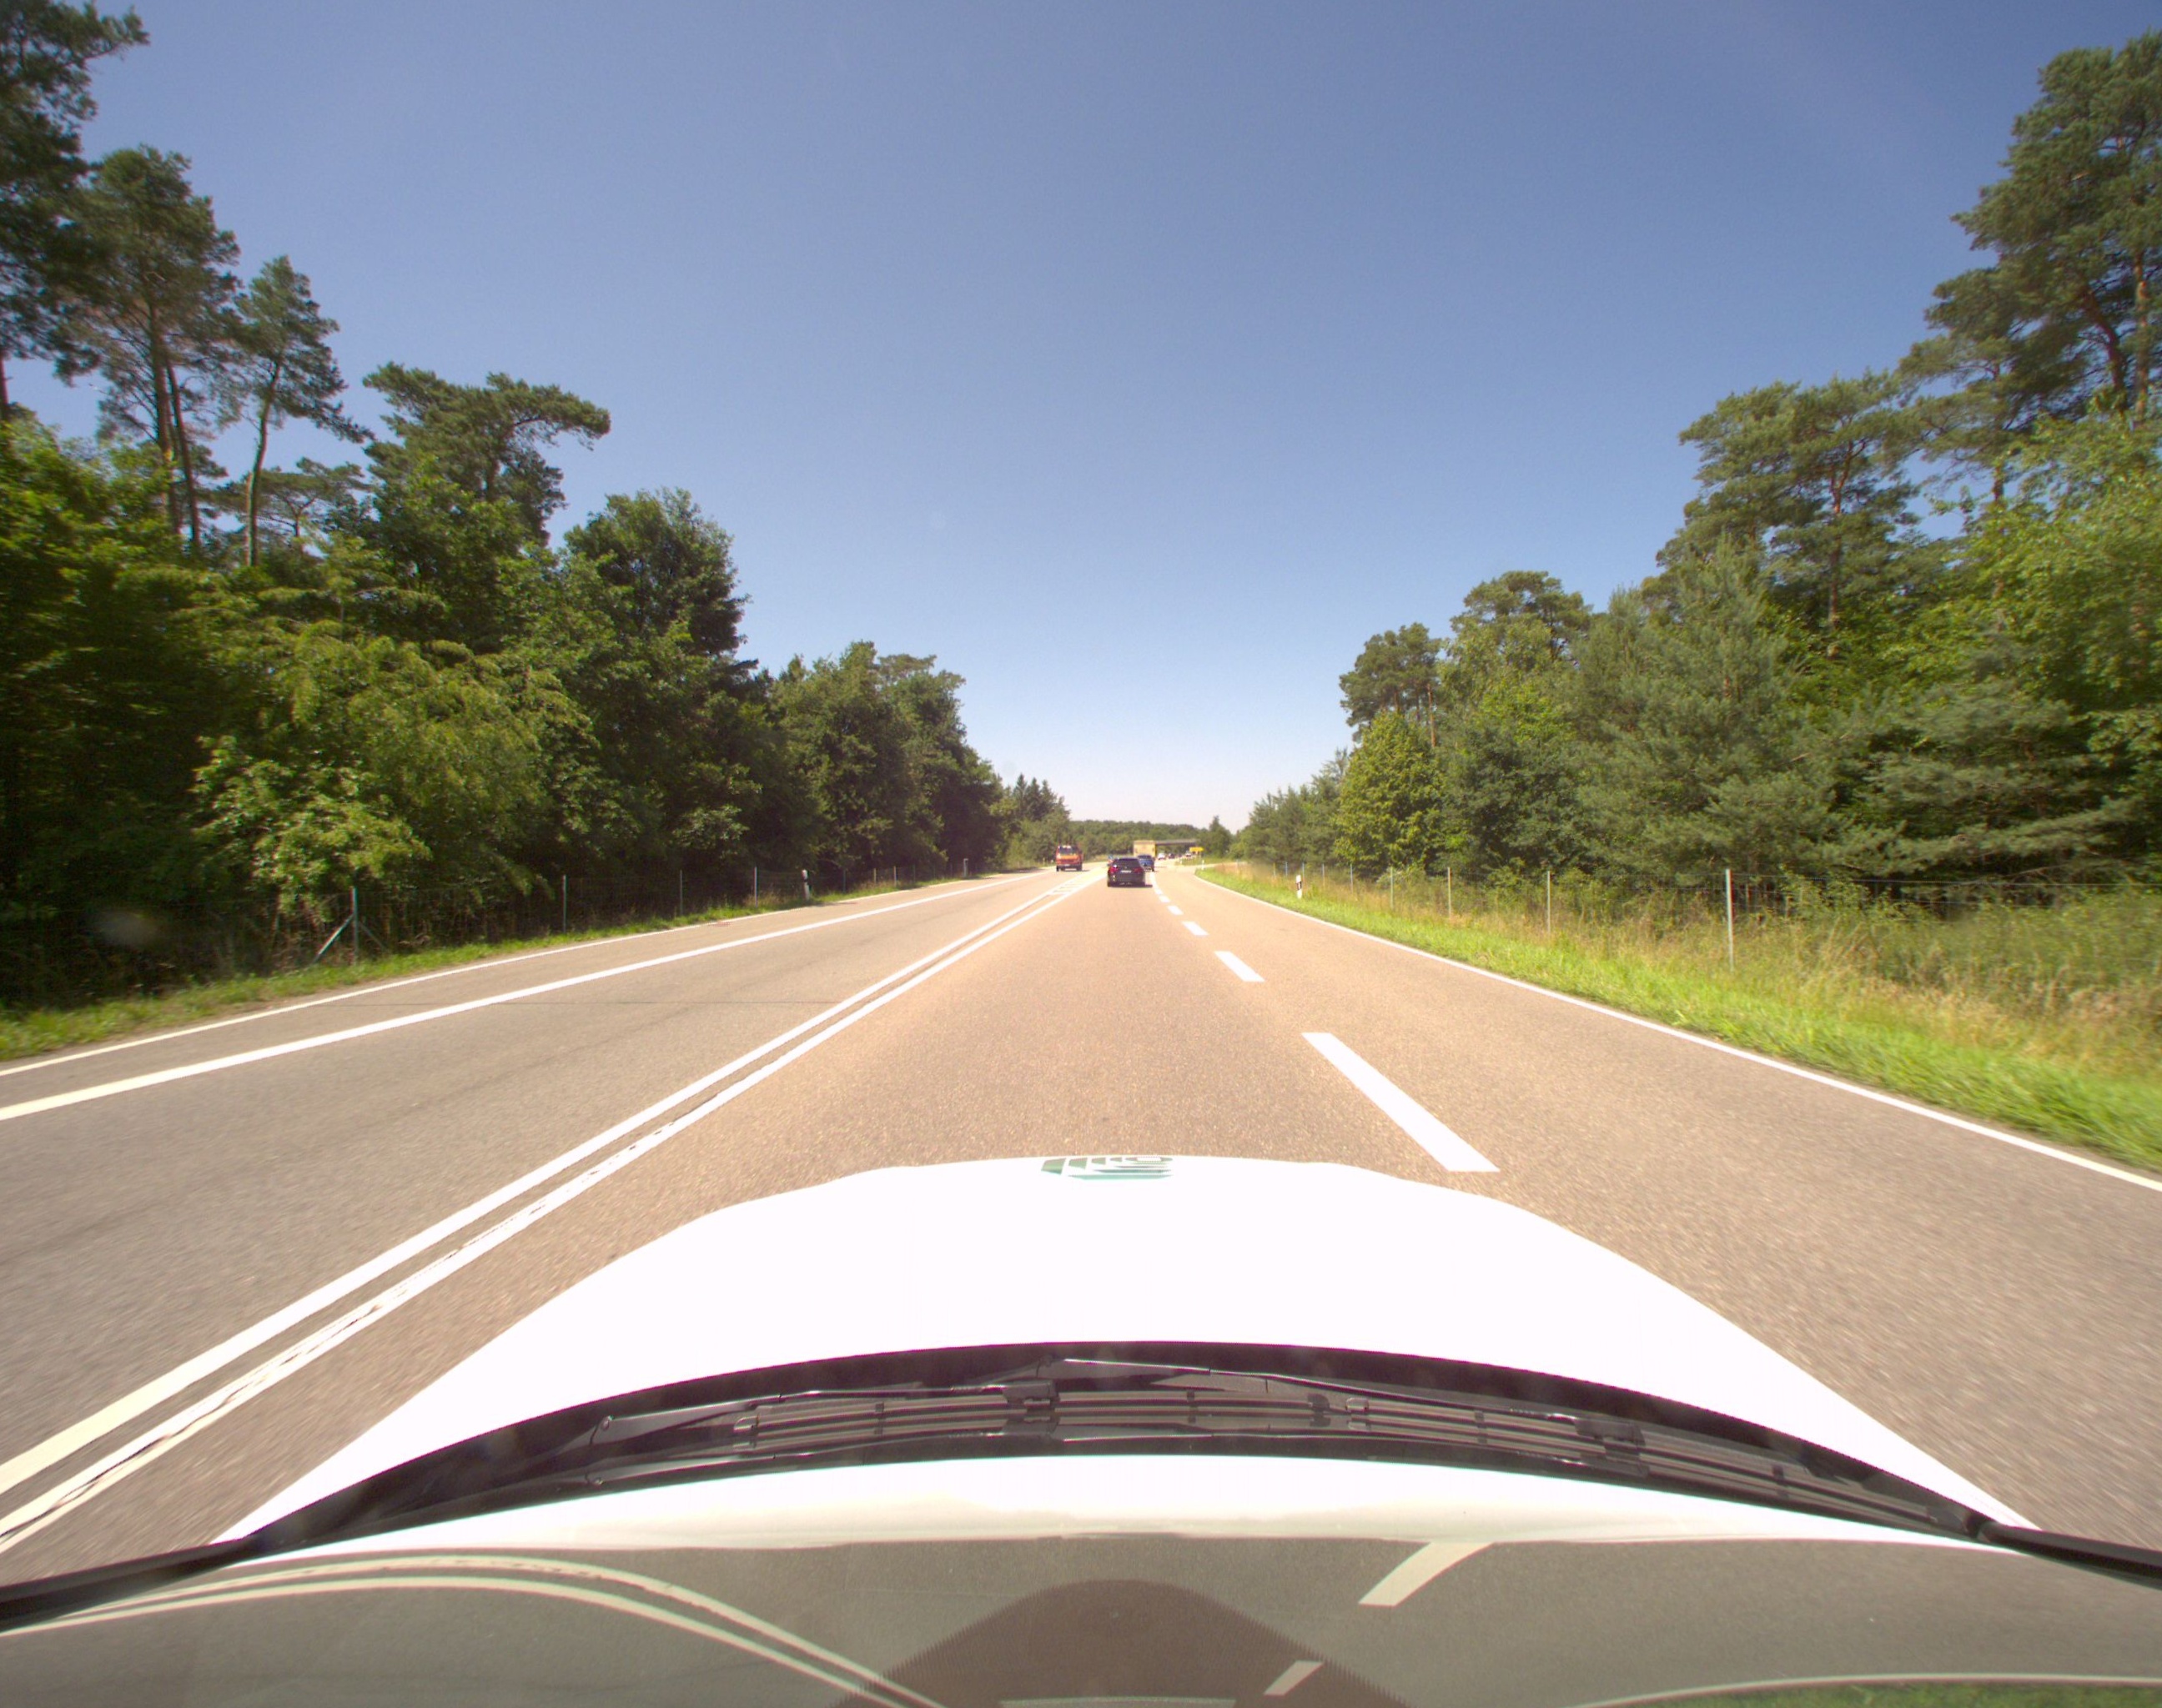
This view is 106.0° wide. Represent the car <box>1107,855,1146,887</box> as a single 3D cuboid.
[{"bbox_3d":[2.219,0.817,40.532,1.813,1.470,4.002,-1,0,2],"label":"car"}]

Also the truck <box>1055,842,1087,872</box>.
[{"bbox_3d":[-0.925,0.286,78.430,2.387,2.722,6.560,0,0,5],"label":"truck"}]

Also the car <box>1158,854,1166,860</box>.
[{"bbox_3d":[20.628,0.748,207.462,1.855,1.605,4.002,0,0,2],"label":"car"}]

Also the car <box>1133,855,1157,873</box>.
[{"bbox_3d":[5.913,0.904,75.419,1.940,1.542,4.001,-2,0,1],"label":"car"}]

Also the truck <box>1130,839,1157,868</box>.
[{"bbox_3d":[7.633,-0.069,99.572,2.955,3.387,6.440,-1,0,1],"label":"truck"}]

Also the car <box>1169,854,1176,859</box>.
[{"bbox_3d":[26.875,0.853,239.635,1.984,1.420,4.006,0,0,5],"label":"car"}]
